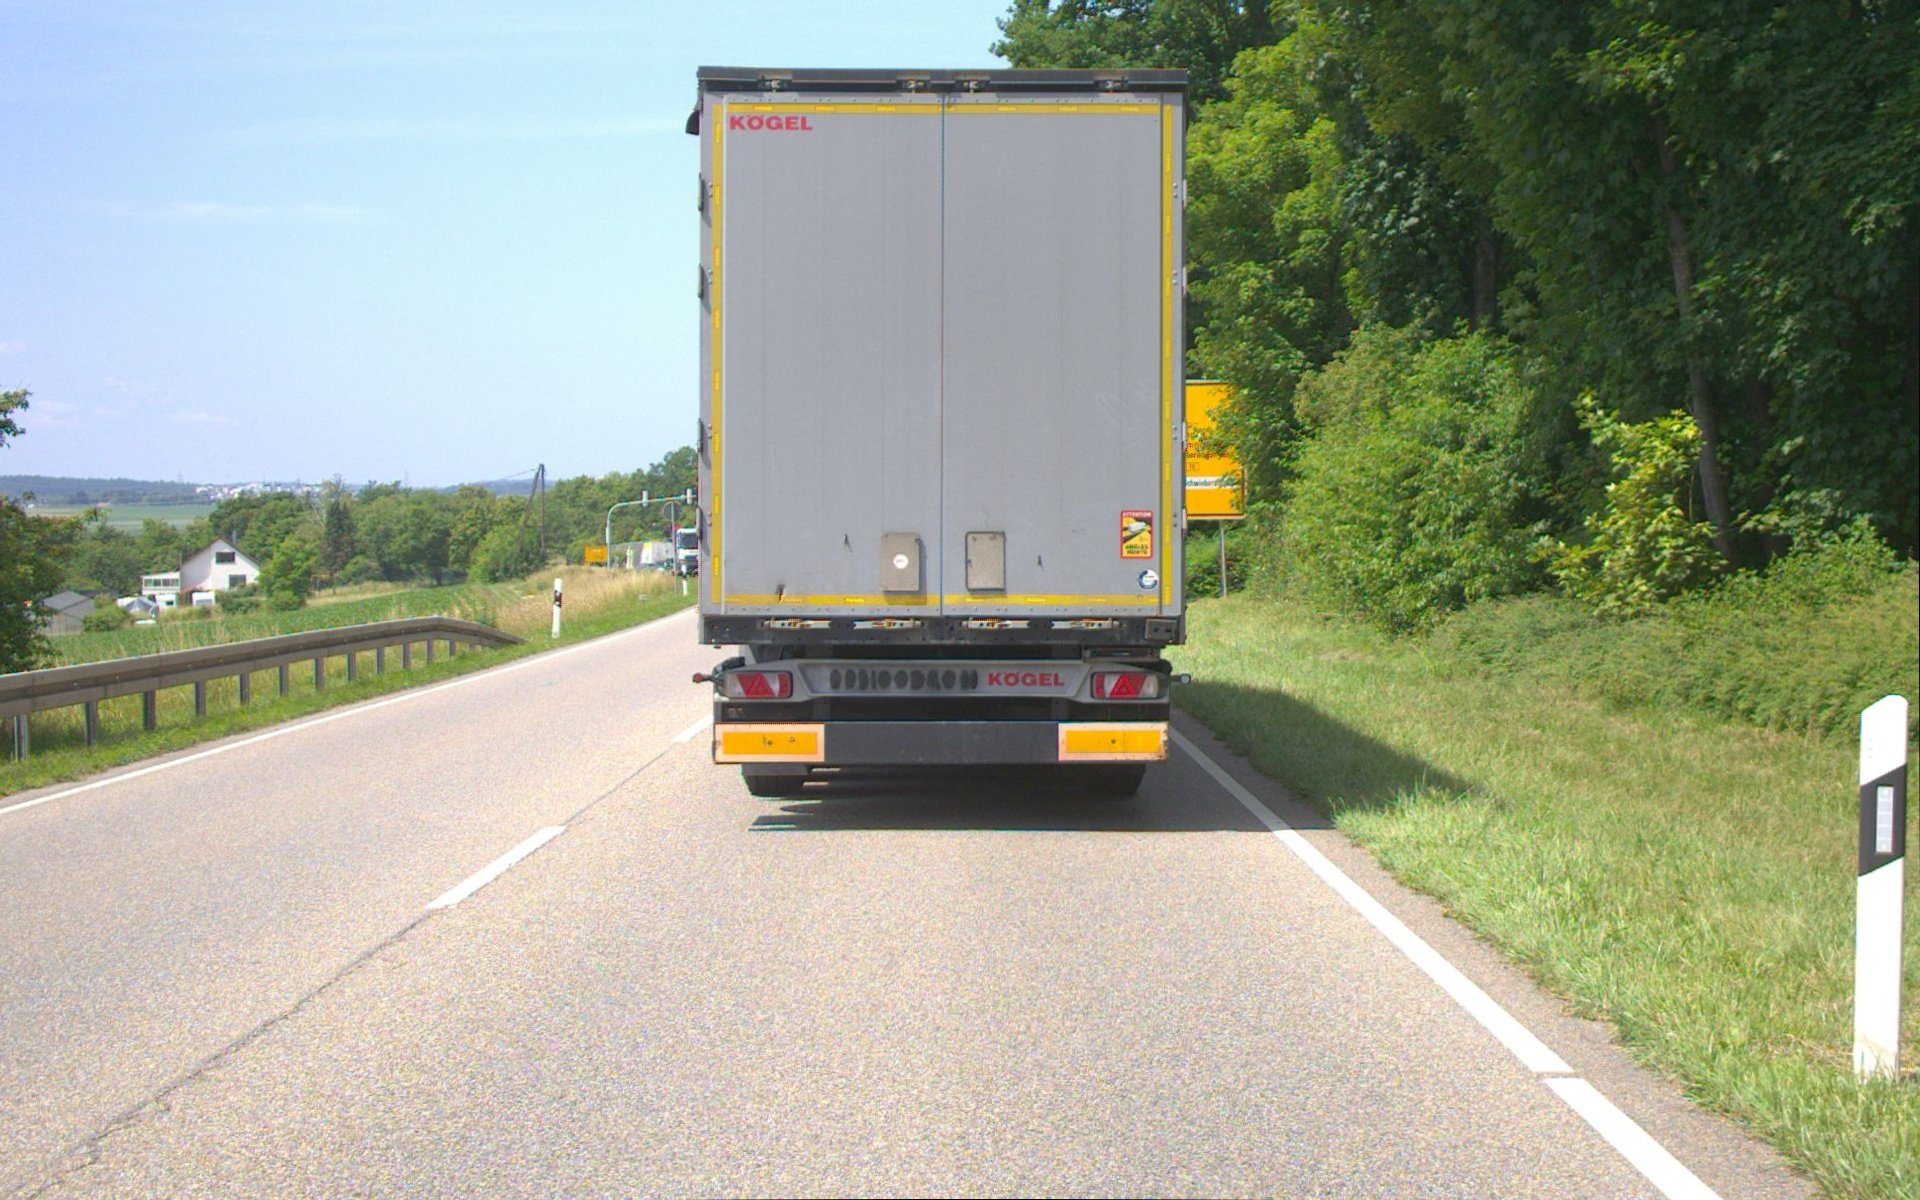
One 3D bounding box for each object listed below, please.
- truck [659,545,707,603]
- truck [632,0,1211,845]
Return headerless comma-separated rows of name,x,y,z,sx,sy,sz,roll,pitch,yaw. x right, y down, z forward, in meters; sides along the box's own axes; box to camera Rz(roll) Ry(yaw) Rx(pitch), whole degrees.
truck,-17.930,-1.668,223.111,2.756,3.564,11.066,-3,0,-4
truck,-0.187,-1.042,21.833,2.907,4.395,8.860,0,1,0
